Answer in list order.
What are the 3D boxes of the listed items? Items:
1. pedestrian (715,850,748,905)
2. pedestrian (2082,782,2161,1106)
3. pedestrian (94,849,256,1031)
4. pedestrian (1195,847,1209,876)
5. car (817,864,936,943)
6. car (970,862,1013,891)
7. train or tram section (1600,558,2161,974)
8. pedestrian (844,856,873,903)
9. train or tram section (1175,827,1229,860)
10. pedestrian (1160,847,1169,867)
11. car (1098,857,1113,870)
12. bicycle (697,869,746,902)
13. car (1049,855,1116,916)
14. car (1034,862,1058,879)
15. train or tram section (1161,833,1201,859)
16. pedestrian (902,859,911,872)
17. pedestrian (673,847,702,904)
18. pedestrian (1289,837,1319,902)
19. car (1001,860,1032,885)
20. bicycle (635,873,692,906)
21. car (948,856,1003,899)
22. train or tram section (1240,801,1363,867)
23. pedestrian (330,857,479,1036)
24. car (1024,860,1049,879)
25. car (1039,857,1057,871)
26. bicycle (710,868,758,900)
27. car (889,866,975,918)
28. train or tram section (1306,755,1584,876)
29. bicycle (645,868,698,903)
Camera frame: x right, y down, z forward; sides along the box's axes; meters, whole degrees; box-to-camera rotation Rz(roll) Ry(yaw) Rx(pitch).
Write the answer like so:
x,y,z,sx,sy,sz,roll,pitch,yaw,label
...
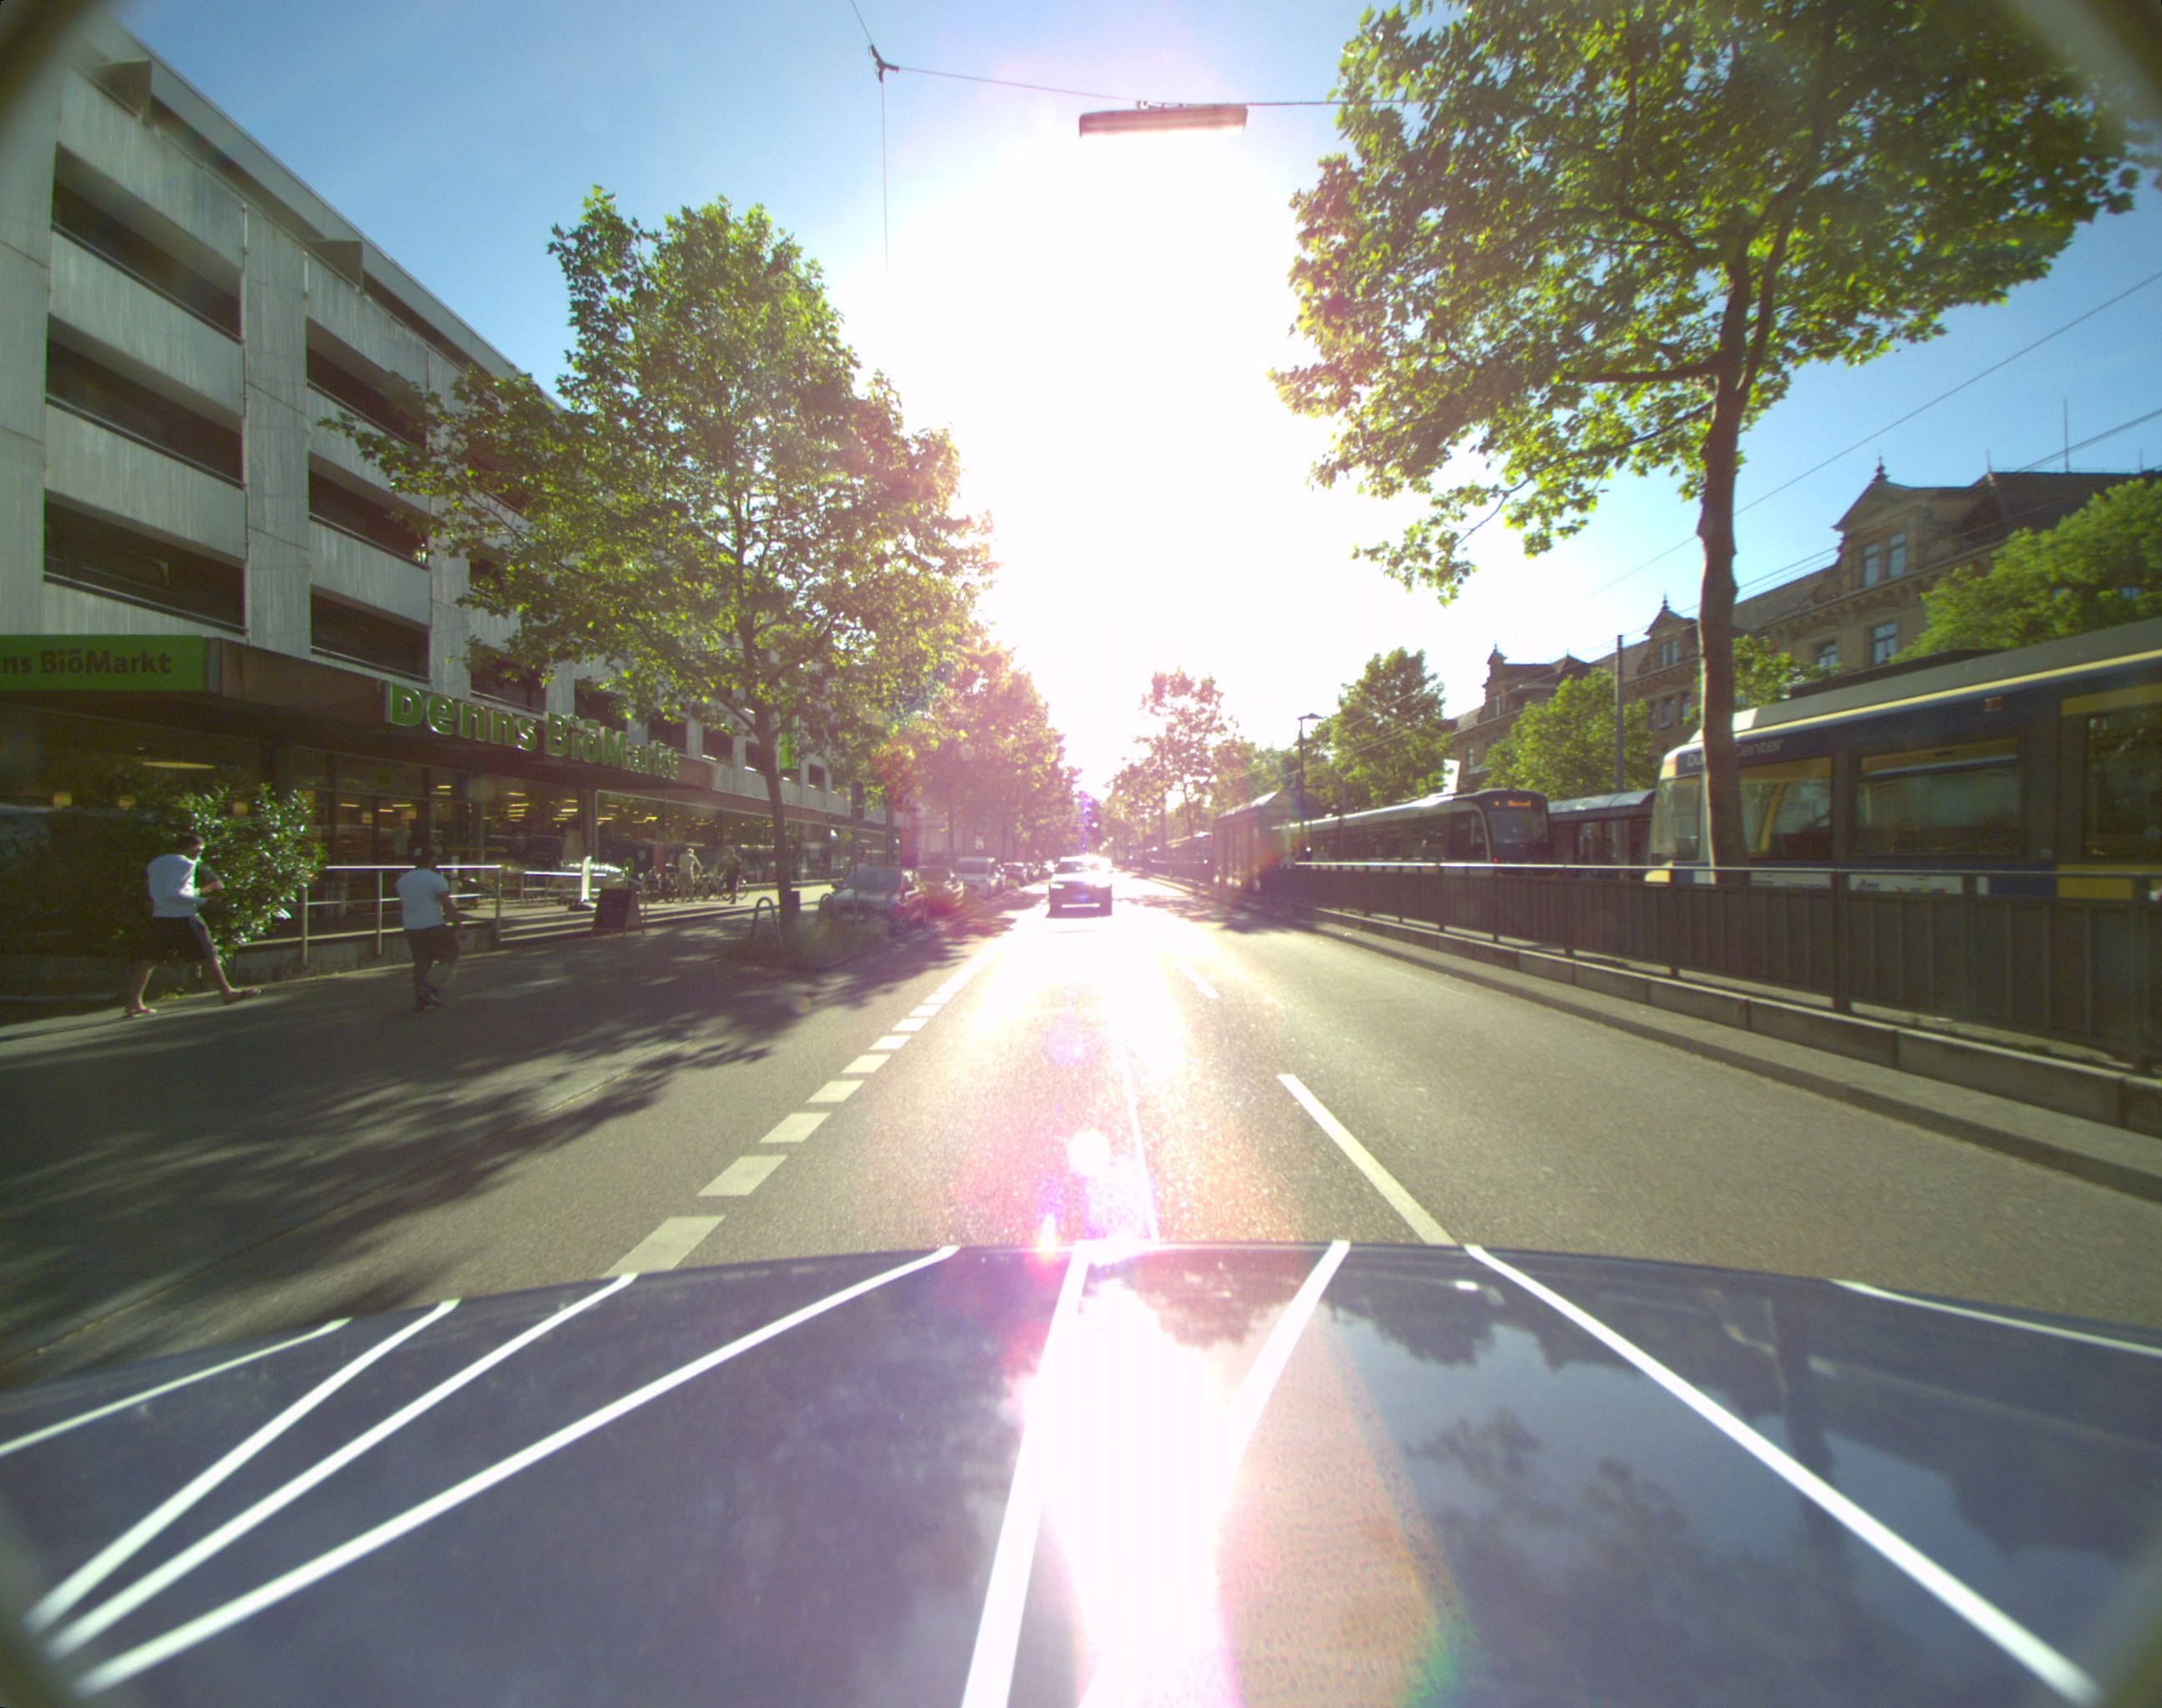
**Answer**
x,y,z,sx,sy,sz,roll,pitch,yaw,label
-10.826,0.711,23.566,0.559,1.668,0.882,2,1,0,pedestrian
5.406,0.418,3.433,0.777,1.501,0.751,0,0,-3,pedestrian
-9.069,0.819,7.648,0.561,1.734,0.878,0,0,0,pedestrian
7.157,0.431,44.960,0.683,1.700,0.624,-1,0,0,pedestrian
-4.575,1.045,17.593,1.569,1.541,4.000,-1,0,1,car
-4.663,1.161,39.988,1.733,1.395,4.295,1,0,0,car
9.880,-0.713,4.411,2.922,3.241,15.890,-2,1,1,train or tram section
-7.707,0.874,26.381,0.699,1.603,0.868,1,0,2,pedestrian
10.491,-0.825,67.637,2.569,2.549,15.675,-1,0,1,train or tram section
6.854,0.266,62.312,0.700,1.626,0.761,-1,0,0,pedestrian
2.892,1.140,90.489,1.706,1.407,3.876,-2,0,2,car
-12.389,1.075,26.190,1.700,1.049,0.587,1,-1,28,bicycle
0.068,0.917,24.156,1.914,1.695,4.273,-1,0,0,car
-2.999,1.368,65.041,1.781,1.373,4.276,-1,0,0,car
10.700,-0.813,83.027,2.569,2.516,15.073,-1,0,1,train or tram section
-15.352,1.018,66.874,0.560,1.103,0.684,0,0,1,pedestrian
-12.238,0.659,23.620,0.614,1.705,0.612,6,-1,-24,pedestrian
5.692,0.395,19.378,0.568,1.630,0.622,-1,0,2,pedestrian
-4.174,1.194,49.534,1.677,1.430,3.689,2,1,0,car
-12.295,1.044,22.373,1.647,0.910,0.587,1,-2,28,bicycle
-4.625,0.975,33.787,1.768,1.781,4.393,0,0,1,car
13.608,-1.017,49.481,2.878,3.414,18.276,-2,0,1,train or tram section
-6.816,0.876,7.711,0.561,1.694,1.052,0,0,0,pedestrian
-3.476,1.218,59.816,1.630,1.433,3.930,1,0,0,car
-3.896,1.191,91.019,1.839,1.555,4.273,-1,0,0,car
-12.401,1.068,27.156,1.700,1.049,0.587,2,0,28,bicycle
-4.629,1.135,24.296,1.766,1.409,4.700,-1,0,0,car
13.306,-1.089,31.218,2.856,3.414,18.215,-2,0,1,train or tram section
-13.212,1.012,24.489,1.700,1.049,0.587,1,-3,27,bicycle
